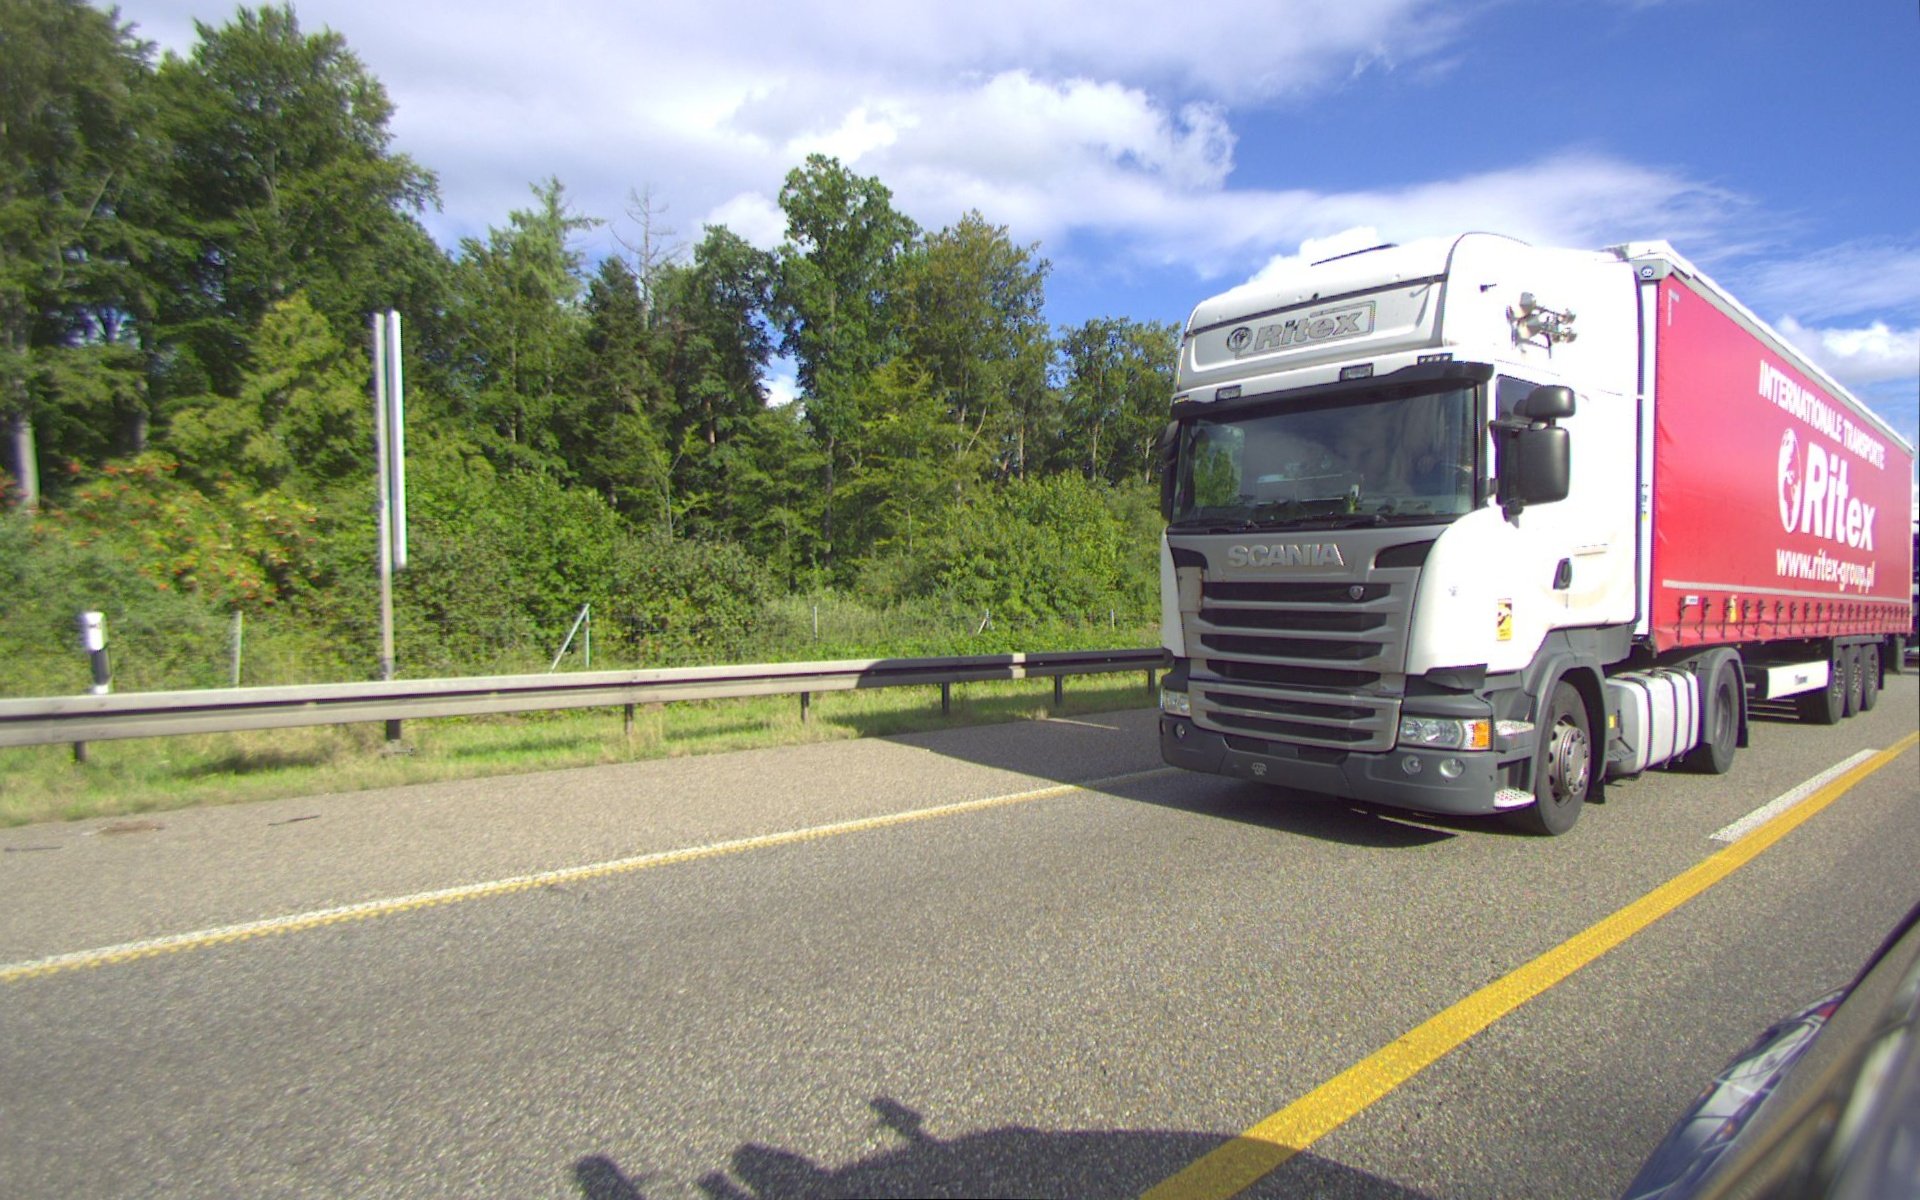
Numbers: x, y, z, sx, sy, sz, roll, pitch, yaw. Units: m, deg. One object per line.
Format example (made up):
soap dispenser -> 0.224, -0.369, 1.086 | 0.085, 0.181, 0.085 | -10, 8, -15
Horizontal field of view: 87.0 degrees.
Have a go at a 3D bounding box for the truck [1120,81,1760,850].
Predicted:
truck -> 4.126, -0.716, 8.143 | 5.611, 4.010, 2.672 | 0, 0, -41

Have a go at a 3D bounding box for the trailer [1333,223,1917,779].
trailer -> 9.289, -0.732, 12.688 | 13.183, 4.019, 2.704 | 0, 0, -41

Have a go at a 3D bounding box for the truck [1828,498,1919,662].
truck -> 24.297, -0.488, 25.737 | 5.687, 3.828, 2.500 | 0, 0, -40

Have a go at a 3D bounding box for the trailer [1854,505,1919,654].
trailer -> 29.147, -0.532, 29.733 | 11.918, 3.822, 2.477 | 0, 0, -39
